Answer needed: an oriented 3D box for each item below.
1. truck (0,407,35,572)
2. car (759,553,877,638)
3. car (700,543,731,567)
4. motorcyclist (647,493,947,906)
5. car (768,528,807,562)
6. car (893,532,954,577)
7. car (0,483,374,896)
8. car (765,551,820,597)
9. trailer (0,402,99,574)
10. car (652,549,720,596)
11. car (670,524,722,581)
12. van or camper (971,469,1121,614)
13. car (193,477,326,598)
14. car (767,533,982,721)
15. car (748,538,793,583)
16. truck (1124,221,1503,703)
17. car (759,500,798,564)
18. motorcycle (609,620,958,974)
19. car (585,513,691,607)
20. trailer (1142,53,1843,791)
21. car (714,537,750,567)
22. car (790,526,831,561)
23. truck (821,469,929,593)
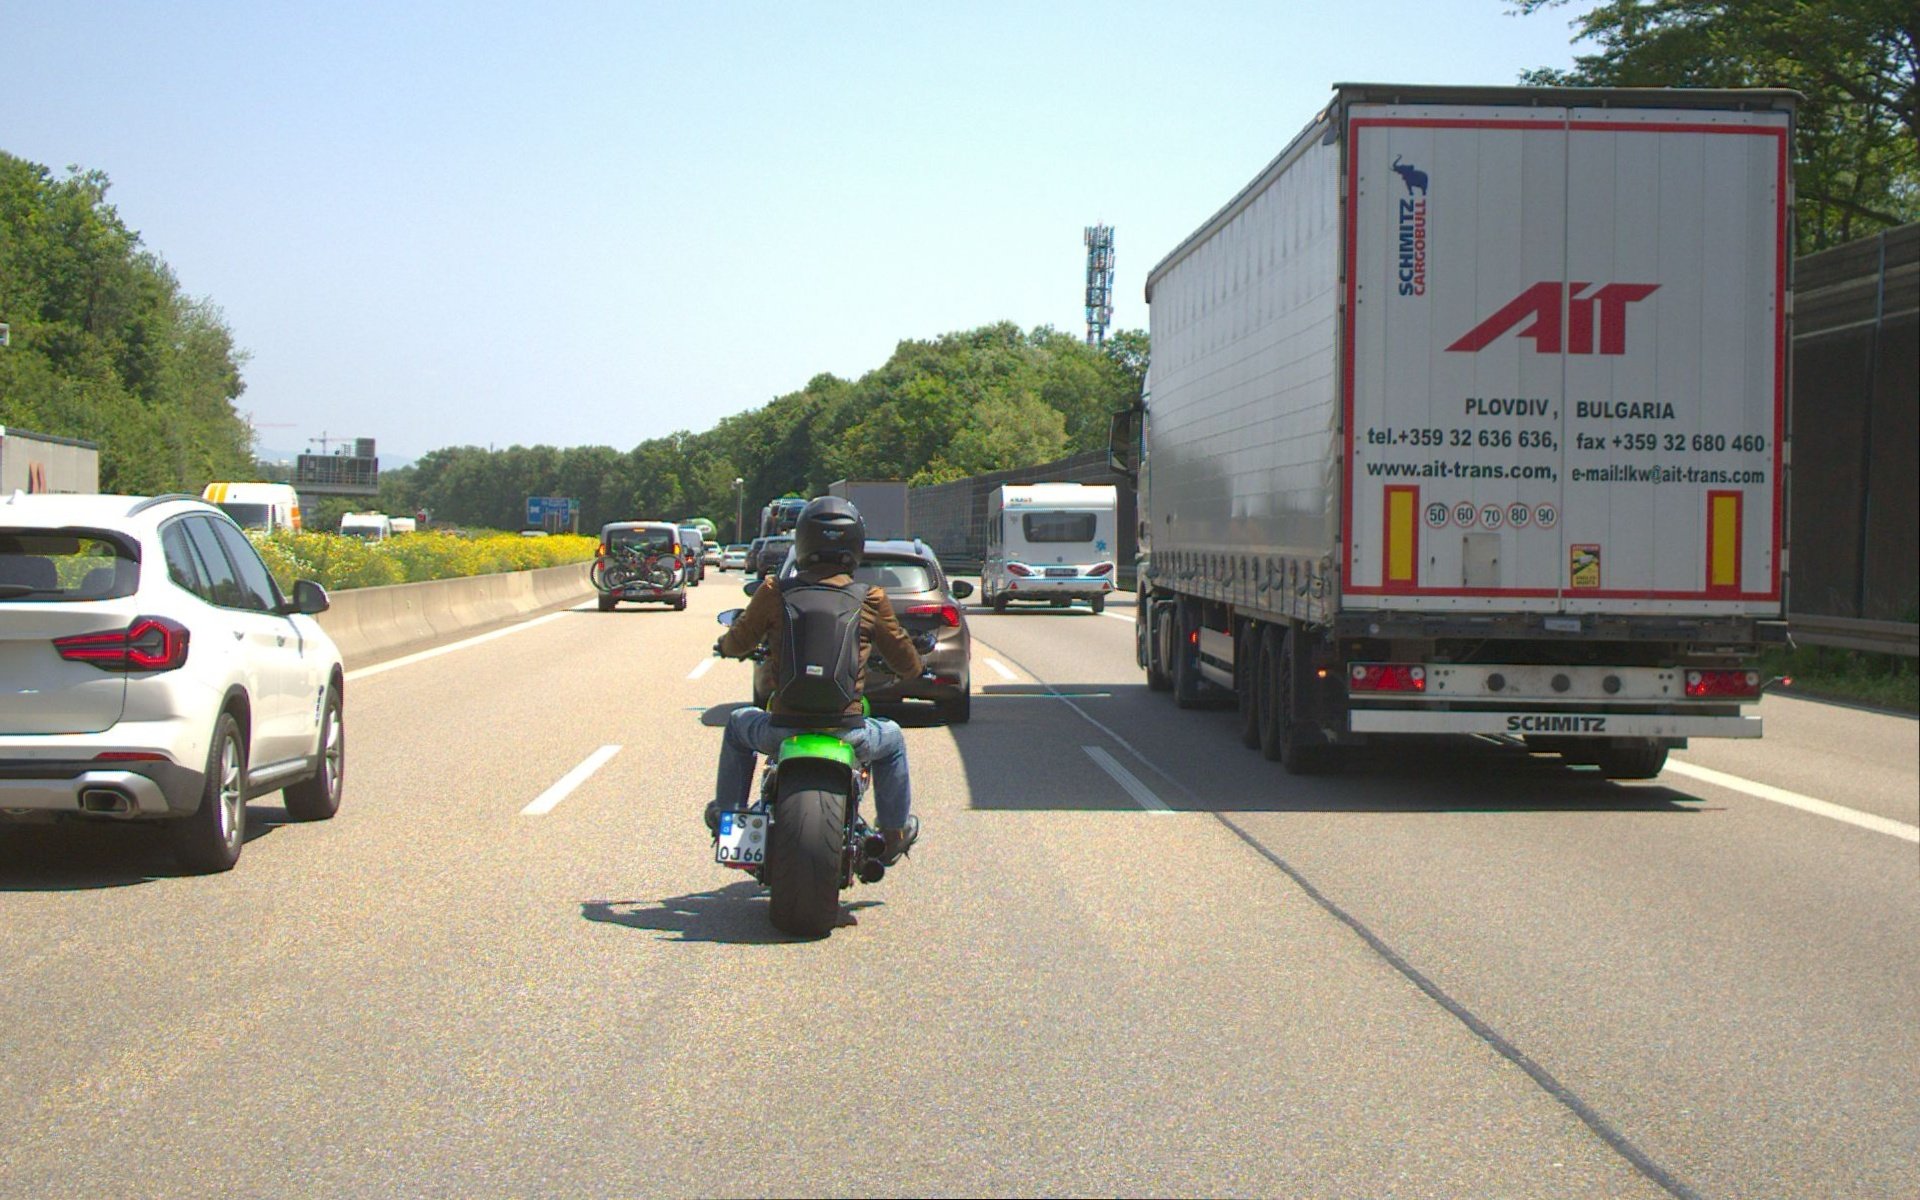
[{"bbox_3d":[-25.614,-2.798,87.235,2.963,4.093,6.089,1,0,-4],"label":"truck"},{"bbox_3d":[-2.499,-0.067,60.507,1.993,1.425,3.847,1,0,-2],"label":"car"},{"bbox_3d":[-15.635,-2.872,219.869,1.832,1.491,3.744,1,0,-6],"label":"car"},{"bbox_3d":[-0.591,0.358,13.272,0.900,1.470,1.871,1,0,5],"label":"motorcyclist"},{"bbox_3d":[-10.015,-3.162,199.616,2.107,1.870,4.000,1,0,-4],"label":"car"},{"bbox_3d":[-1.333,-1.639,124.865,1.993,1.568,4.000,1,0,-3],"label":"car"},{"bbox_3d":[-4.133,0.328,16.568,1.864,1.688,4.956,0,1,-1],"label":"car"},{"bbox_3d":[-6.232,-0.949,127.855,1.993,1.634,4.000,1,0,-2],"label":"car"},{"bbox_3d":[-26.067,-2.900,93.461,2.925,4.217,13.066,1,0,-4],"label":"trailer"},{"bbox_3d":[-8.529,-0.846,107.312,1.993,1.382,4.000,1,0,-3],"label":"car"},{"bbox_3d":[-9.774,-1.749,127.410,1.791,2.007,3.642,1,0,-2],"label":"car"},{"bbox_3d":[1.696,-1.136,70.769,2.685,2.803,6.803,1,0,-2],"label":"van or camper"},{"bbox_3d":[-17.552,-1.572,86.461,2.068,2.886,7.463,1,1,-2],"label":"car"},{"bbox_3d":[-0.707,0.215,28.829,1.662,1.448,3.869,1,0,-1],"label":"car"},{"bbox_3d":[-8.755,-1.819,158.604,1.911,2.007,3.691,1,0,-5],"label":"car"},{"bbox_3d":[3.197,-1.238,32.676,2.885,4.132,5.986,1,1,-1],"label":"truck"},{"bbox_3d":[-11.272,-4.231,213.128,2.133,3.848,8.144,1,1,-5],"label":"car"},{"bbox_3d":[-0.618,0.693,13.373,0.965,1.144,2.811,1,1,5],"label":"motorcycle"},{"bbox_3d":[-6.621,-0.790,71.115,1.899,1.867,4.413,1,0,-2],"label":"car"},{"bbox_3d":[3.292,-1.082,25.801,2.885,4.025,13.796,1,1,-1],"label":"trailer"},{"bbox_3d":[-12.080,-2.533,182.115,1.832,1.491,3.744,1,0,-5],"label":"car"},{"bbox_3d":[-8.452,-3.159,193.971,2.107,1.870,4.001,1,0,-6],"label":"car"},{"bbox_3d":[-3.618,-2.806,143.844,3.802,4.943,8.952,1,0,-6],"label":"truck"}]
